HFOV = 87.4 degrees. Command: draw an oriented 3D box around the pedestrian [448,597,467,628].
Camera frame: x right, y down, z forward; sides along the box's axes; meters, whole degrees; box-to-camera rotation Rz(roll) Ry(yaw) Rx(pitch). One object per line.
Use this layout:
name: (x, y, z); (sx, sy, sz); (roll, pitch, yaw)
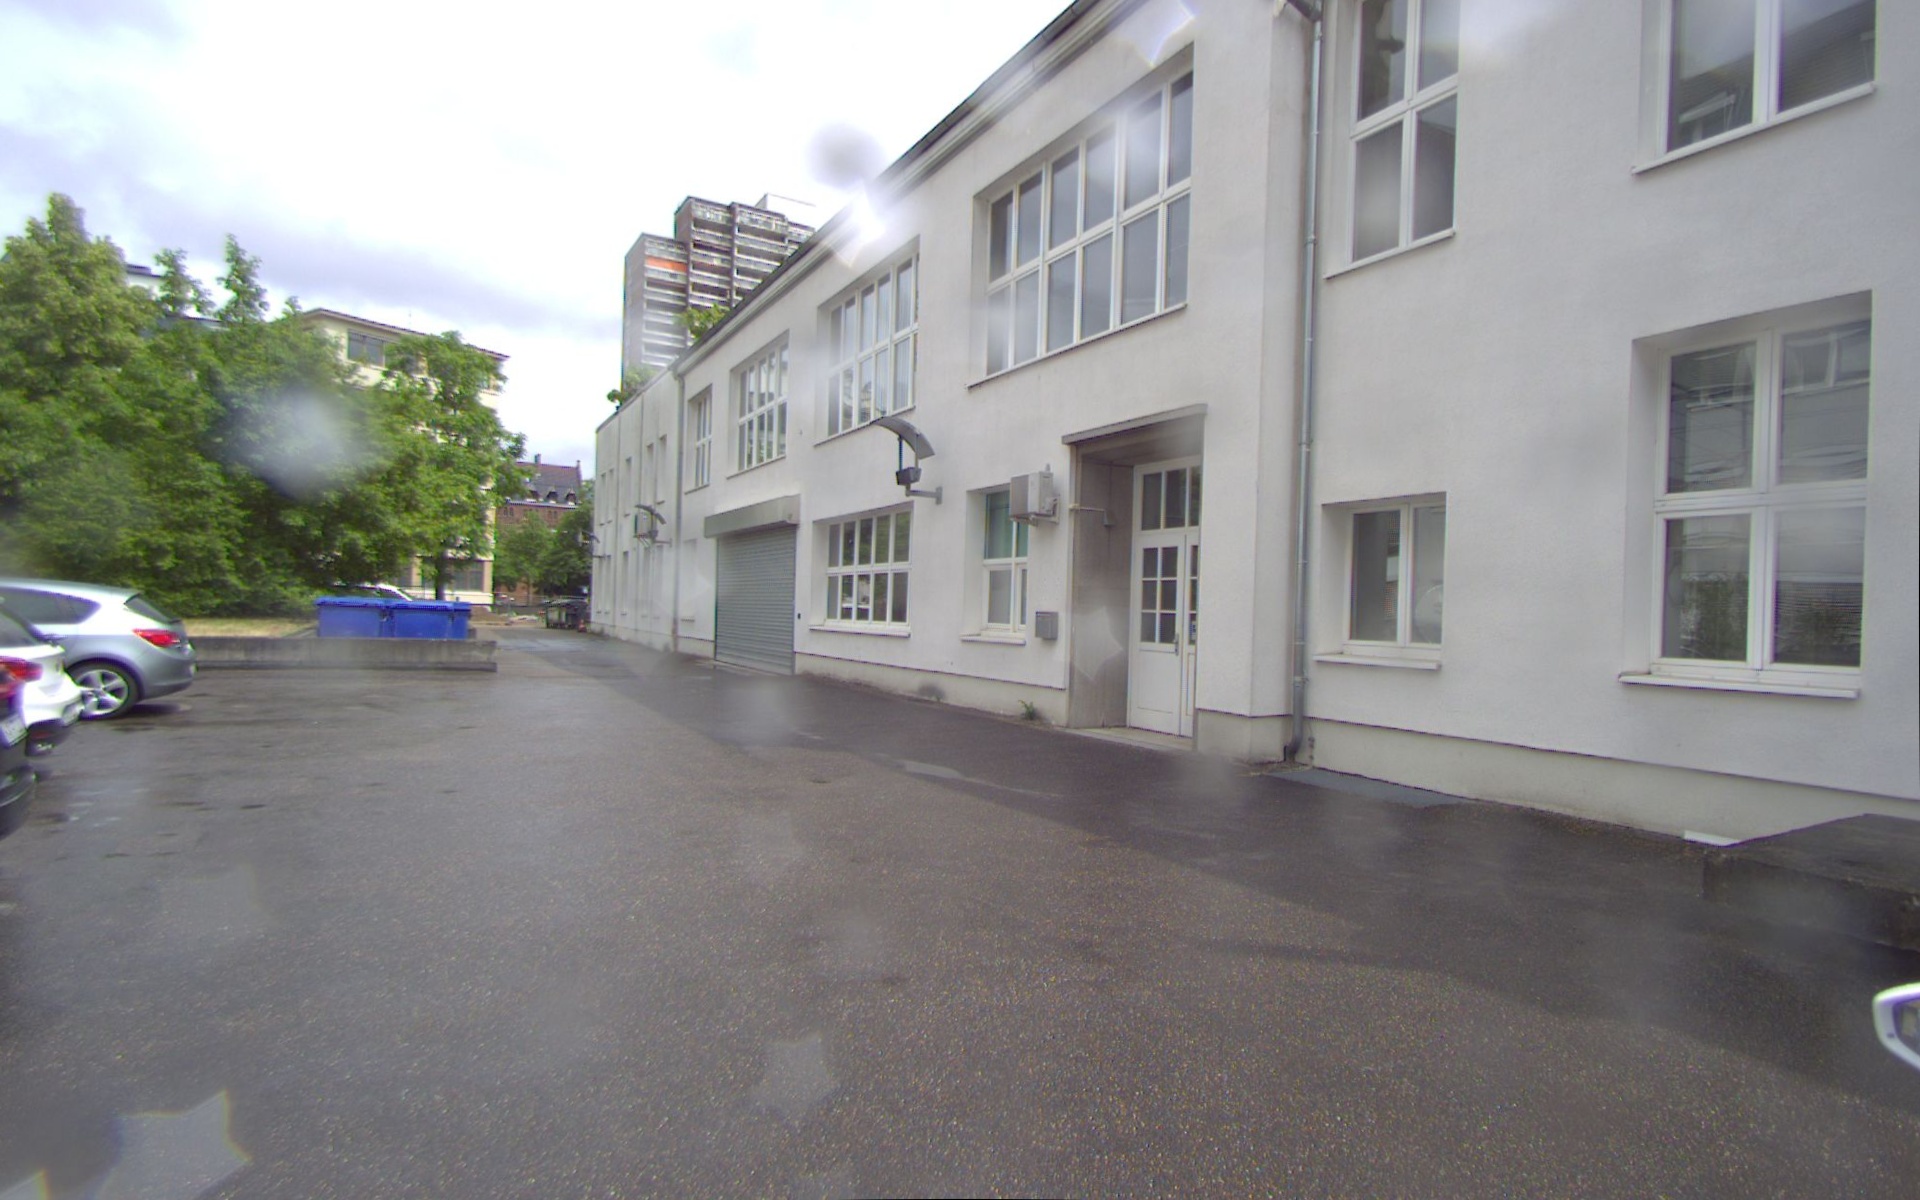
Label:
pedestrian: (-29.625, 0.731, 59.209); (0.852, 1.838, 0.855); (1, 0, -34)

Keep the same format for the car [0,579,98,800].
car: (-8.339, 0.509, 6.402); (4.084, 1.461, 1.680); (3, -1, -35)

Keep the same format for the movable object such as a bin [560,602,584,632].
movable object such as a bin: (-18.473, 0.812, 47.808); (0.966, 1.374, 0.913); (1, 0, -26)

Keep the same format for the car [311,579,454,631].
car: (-20.622, 0.190, 36.087); (4.275, 1.750, 1.712); (2, 0, -25)

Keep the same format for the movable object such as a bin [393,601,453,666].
movable object such as a bin: (-11.589, 0.707, 21.725); (1.081, 1.343, 1.200); (1, 0, -26)

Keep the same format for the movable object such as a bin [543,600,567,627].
movable object such as a bin: (-21.389, 0.715, 53.025); (1.052, 1.374, 1.256); (1, 0, -26)

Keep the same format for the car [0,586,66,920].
car: (-6.290, 0.578, 3.681); (4.275, 1.461, 1.745); (3, -1, -36)

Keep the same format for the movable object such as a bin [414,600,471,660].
movable object such as a bin: (-12.072, 0.699, 23.477); (1.117, 1.346, 1.200); (1, 0, -26)

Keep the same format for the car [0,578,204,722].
car: (-10.857, 0.484, 10.781); (4.275, 1.461, 1.745); (3, -1, -36)

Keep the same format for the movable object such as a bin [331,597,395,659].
movable object such as a bin: (-13.406, 0.621, 22.613); (1.117, 1.346, 1.200); (1, 0, -26)

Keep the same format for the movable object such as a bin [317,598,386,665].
movable object such as a bin: (-12.743, 0.643, 21.080); (1.117, 1.346, 1.200); (1, 0, -26)

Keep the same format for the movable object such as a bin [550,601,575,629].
movable object such as a bin: (-19.970, 0.762, 50.458); (1.049, 1.374, 1.210); (1, 0, -26)

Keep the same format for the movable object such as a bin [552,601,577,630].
movable object such as a bin: (-19.403, 0.769, 49.222); (1.032, 1.374, 1.200); (1, 0, -26)
